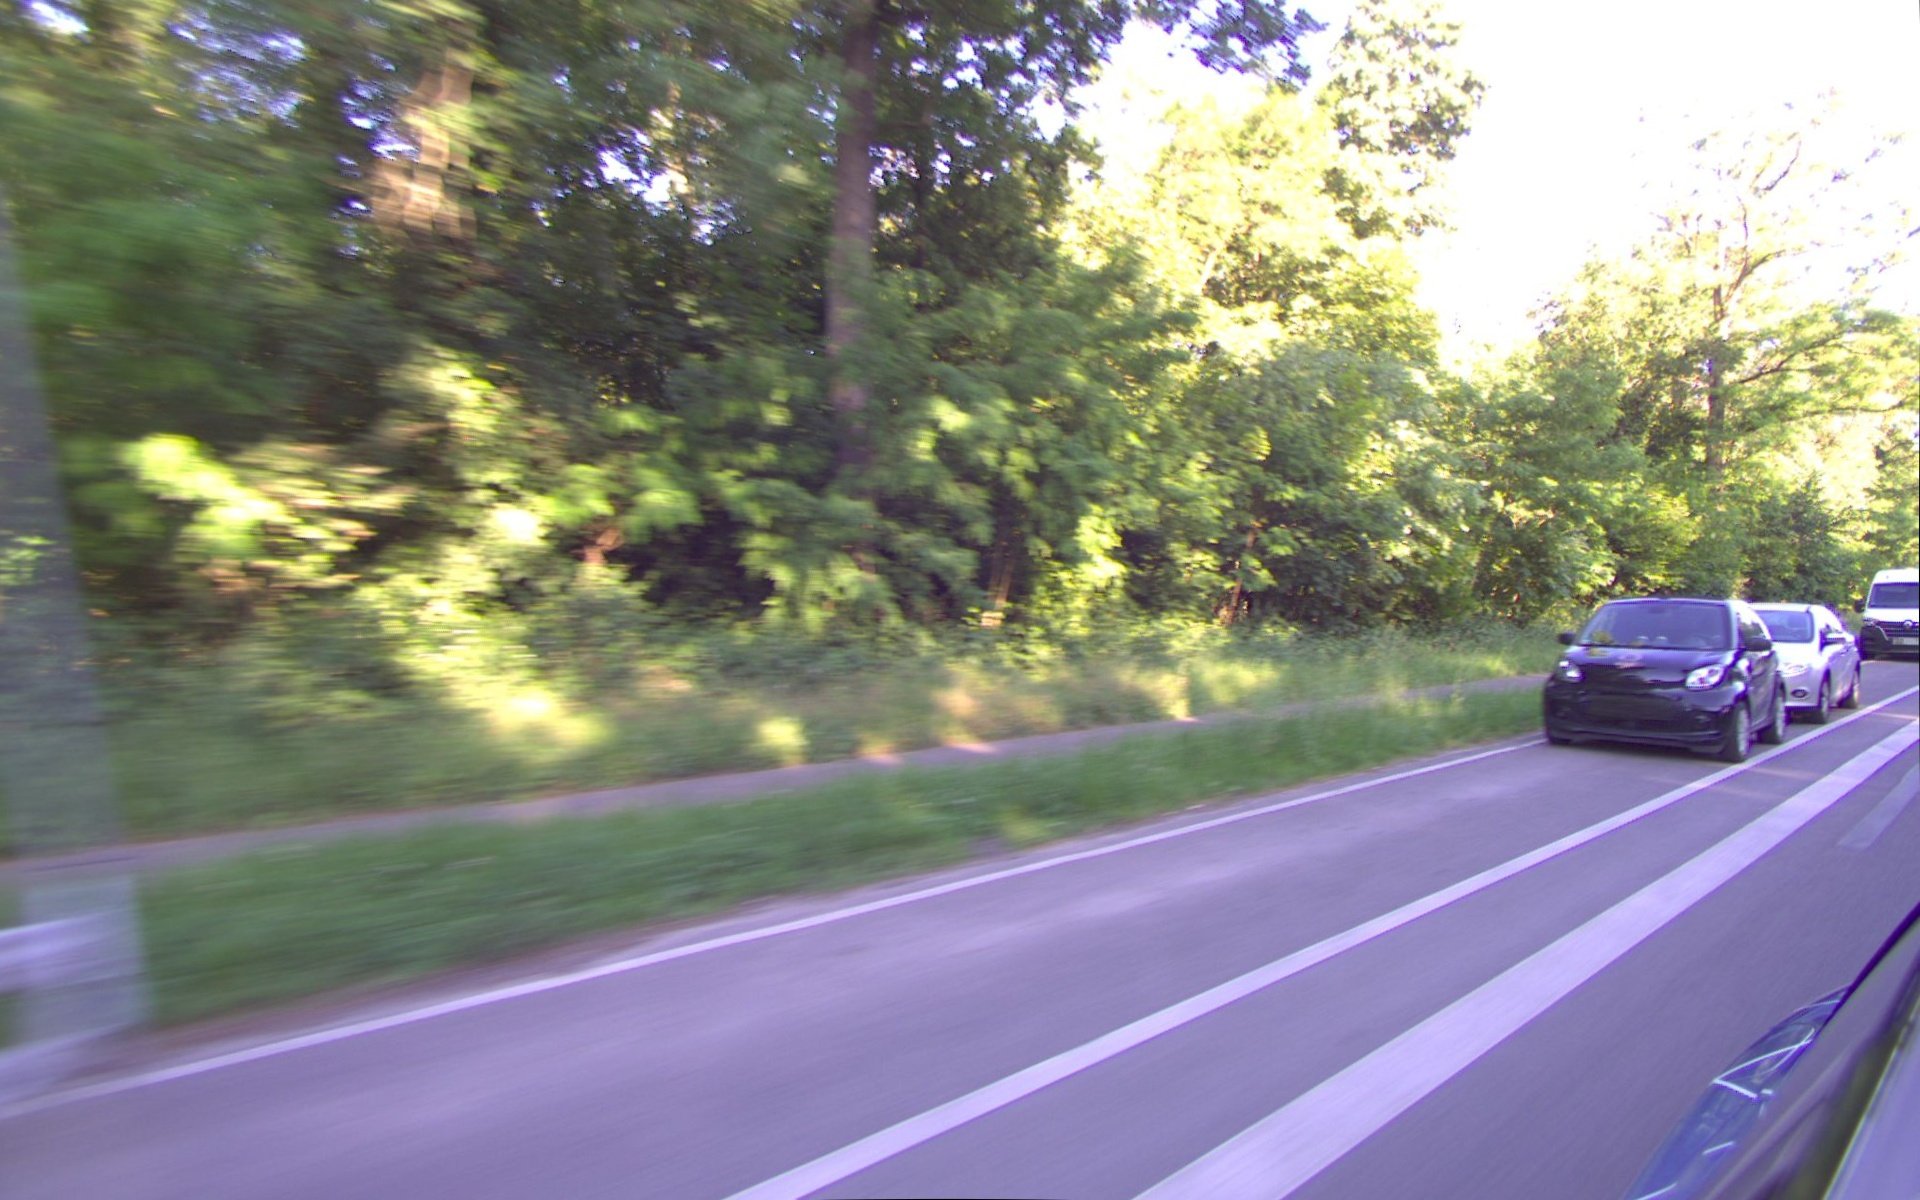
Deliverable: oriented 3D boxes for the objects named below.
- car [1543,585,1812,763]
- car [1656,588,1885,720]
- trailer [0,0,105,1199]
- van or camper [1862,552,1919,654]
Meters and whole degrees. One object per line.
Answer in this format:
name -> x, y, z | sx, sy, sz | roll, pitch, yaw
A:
car -> 7.406, 0.639, 10.375 | 2.958, 1.549, 1.589 | 0, 0, -41
car -> 11.060, 0.619, 13.698 | 4.325, 1.507, 1.737 | 0, -1, -42
trailer -> -3.501, 0.207, 1.097 | 3.930, 2.540, 1.616 | -1, 1, -41
van or camper -> 26.157, 0.069, 27.069 | 6.192, 2.513, 2.130 | 0, 1, -40
